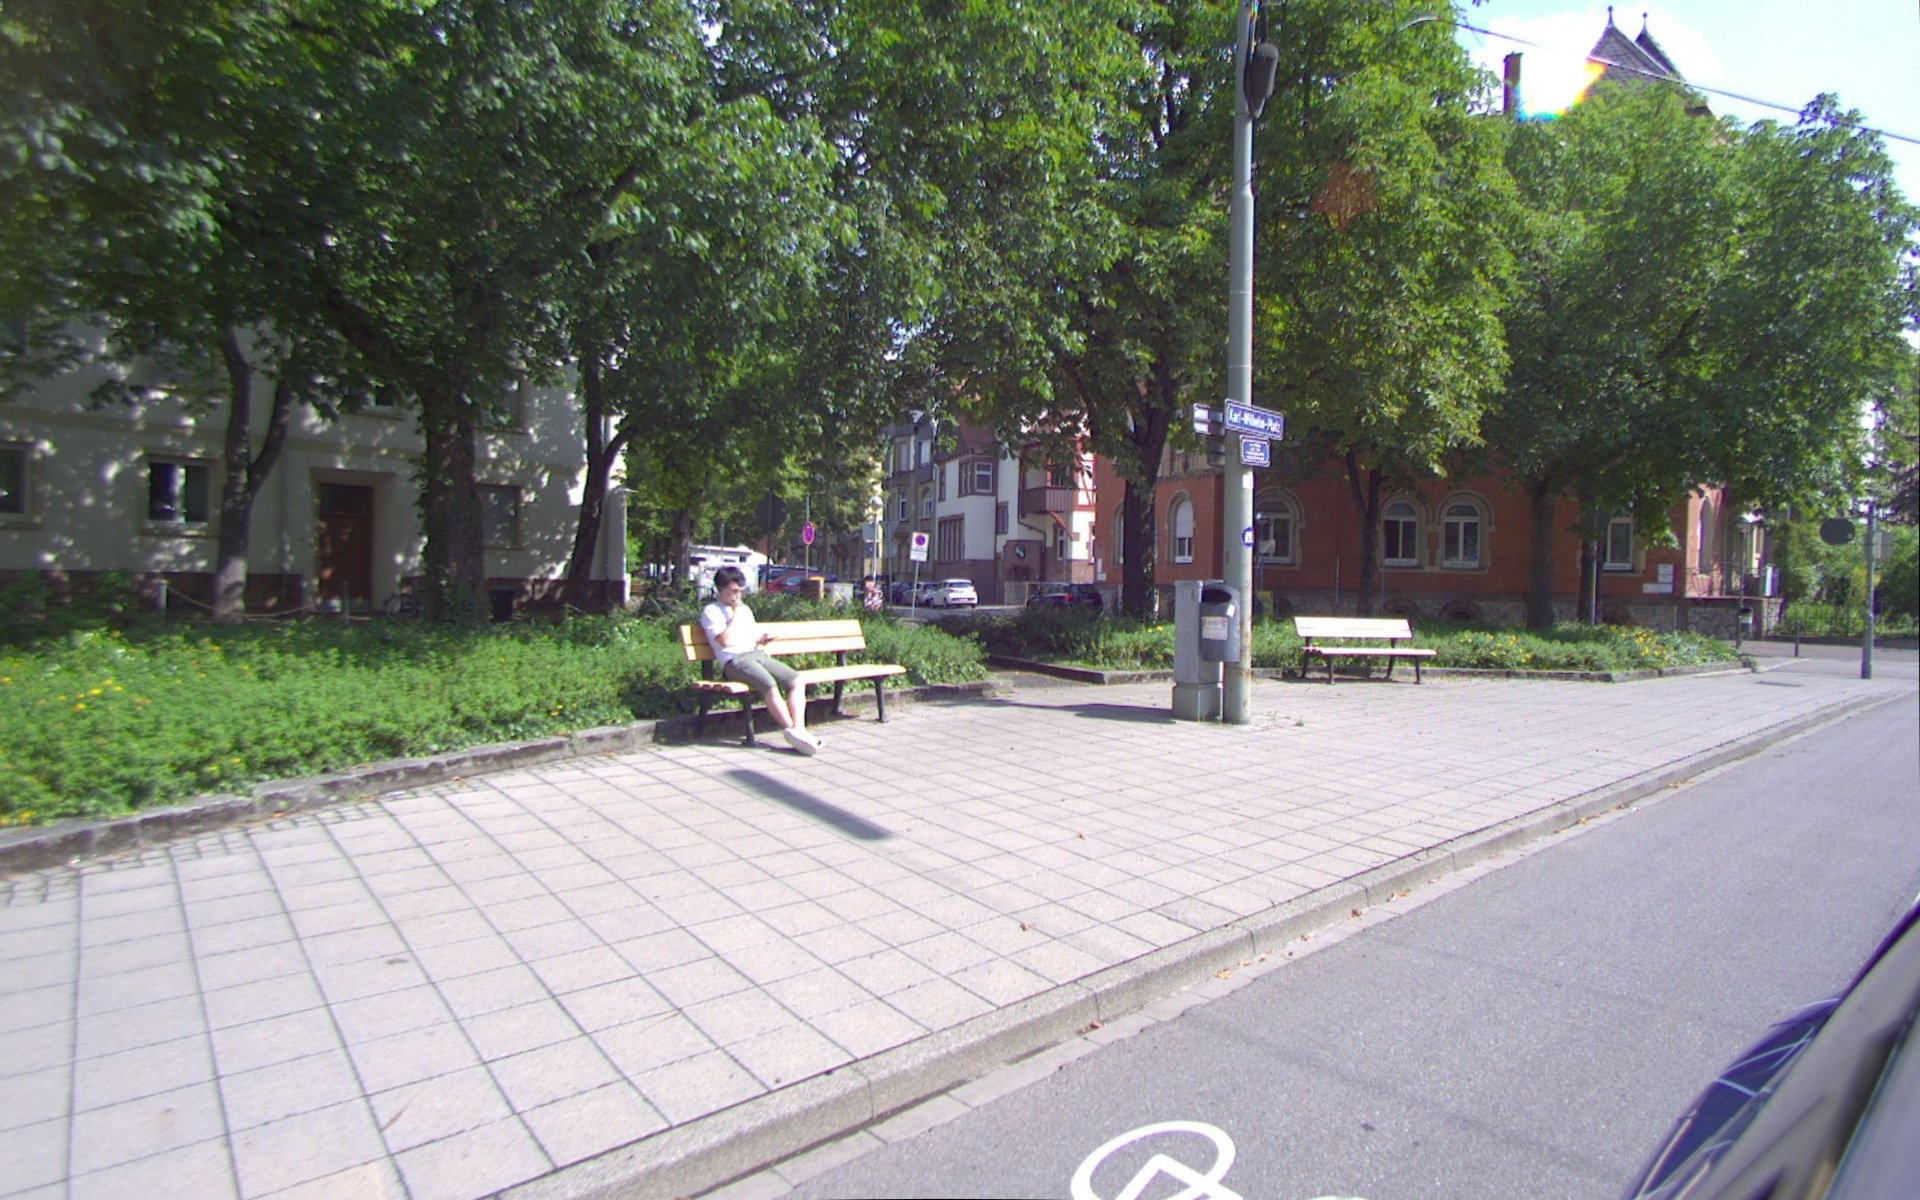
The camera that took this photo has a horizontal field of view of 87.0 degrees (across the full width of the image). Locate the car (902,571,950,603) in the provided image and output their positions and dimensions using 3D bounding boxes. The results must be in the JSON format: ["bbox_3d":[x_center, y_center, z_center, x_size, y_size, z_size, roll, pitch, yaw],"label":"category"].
[{"bbox_3d":[-1.963,-0.783,57.697,1.689,1.727,4.009,1,1,-17],"label":"car"}]

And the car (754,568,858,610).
[{"bbox_3d":[-6.605,-0.478,43.368,4.040,1.705,1.856,1,1,-22],"label":"car"}]

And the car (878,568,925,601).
[{"bbox_3d":[-3.636,-0.952,62.249,1.742,1.927,4.009,1,1,-20],"label":"car"}]

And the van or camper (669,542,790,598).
[{"bbox_3d":[-13.588,-1.728,59.600,6.690,3.076,2.127,1,1,-20],"label":"van or camper"}]

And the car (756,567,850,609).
[{"bbox_3d":[-7.174,-0.539,46.109,3.916,1.816,1.983,1,1,-20],"label":"car"}]

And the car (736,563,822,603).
[{"bbox_3d":[-8.996,-0.837,50.280,3.916,1.883,1.852,1,1,-21],"label":"car"}]

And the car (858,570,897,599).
[{"bbox_3d":[-5.520,-1.076,67.437,1.690,1.860,3.676,1,1,-20],"label":"car"}]

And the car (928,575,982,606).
[{"bbox_3d":[-0.291,-0.535,53.080,1.831,1.504,4.009,1,1,-15],"label":"car"}]

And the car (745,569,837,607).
[{"bbox_3d":[-6.750,-0.474,40.319,3.342,1.440,1.566,1,1,-22],"label":"car"}]

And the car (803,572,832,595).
[{"bbox_3d":[-12.240,-1.394,86.698,1.702,1.950,3.949,0,0,-20],"label":"car"}]

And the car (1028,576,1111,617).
[{"bbox_3d":[4.256,-0.185,40.003,1.896,1.504,4.009,1,1,-15],"label":"car"}]

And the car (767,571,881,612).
[{"bbox_3d":[-5.138,-0.338,38.269,3.916,1.460,1.807,1,1,-22],"label":"car"}]

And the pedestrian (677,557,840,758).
[{"bbox_3d":[-1.475,0.365,7.313,0.549,1.284,1.193,0,3,-45],"label":"pedestrian"}]
